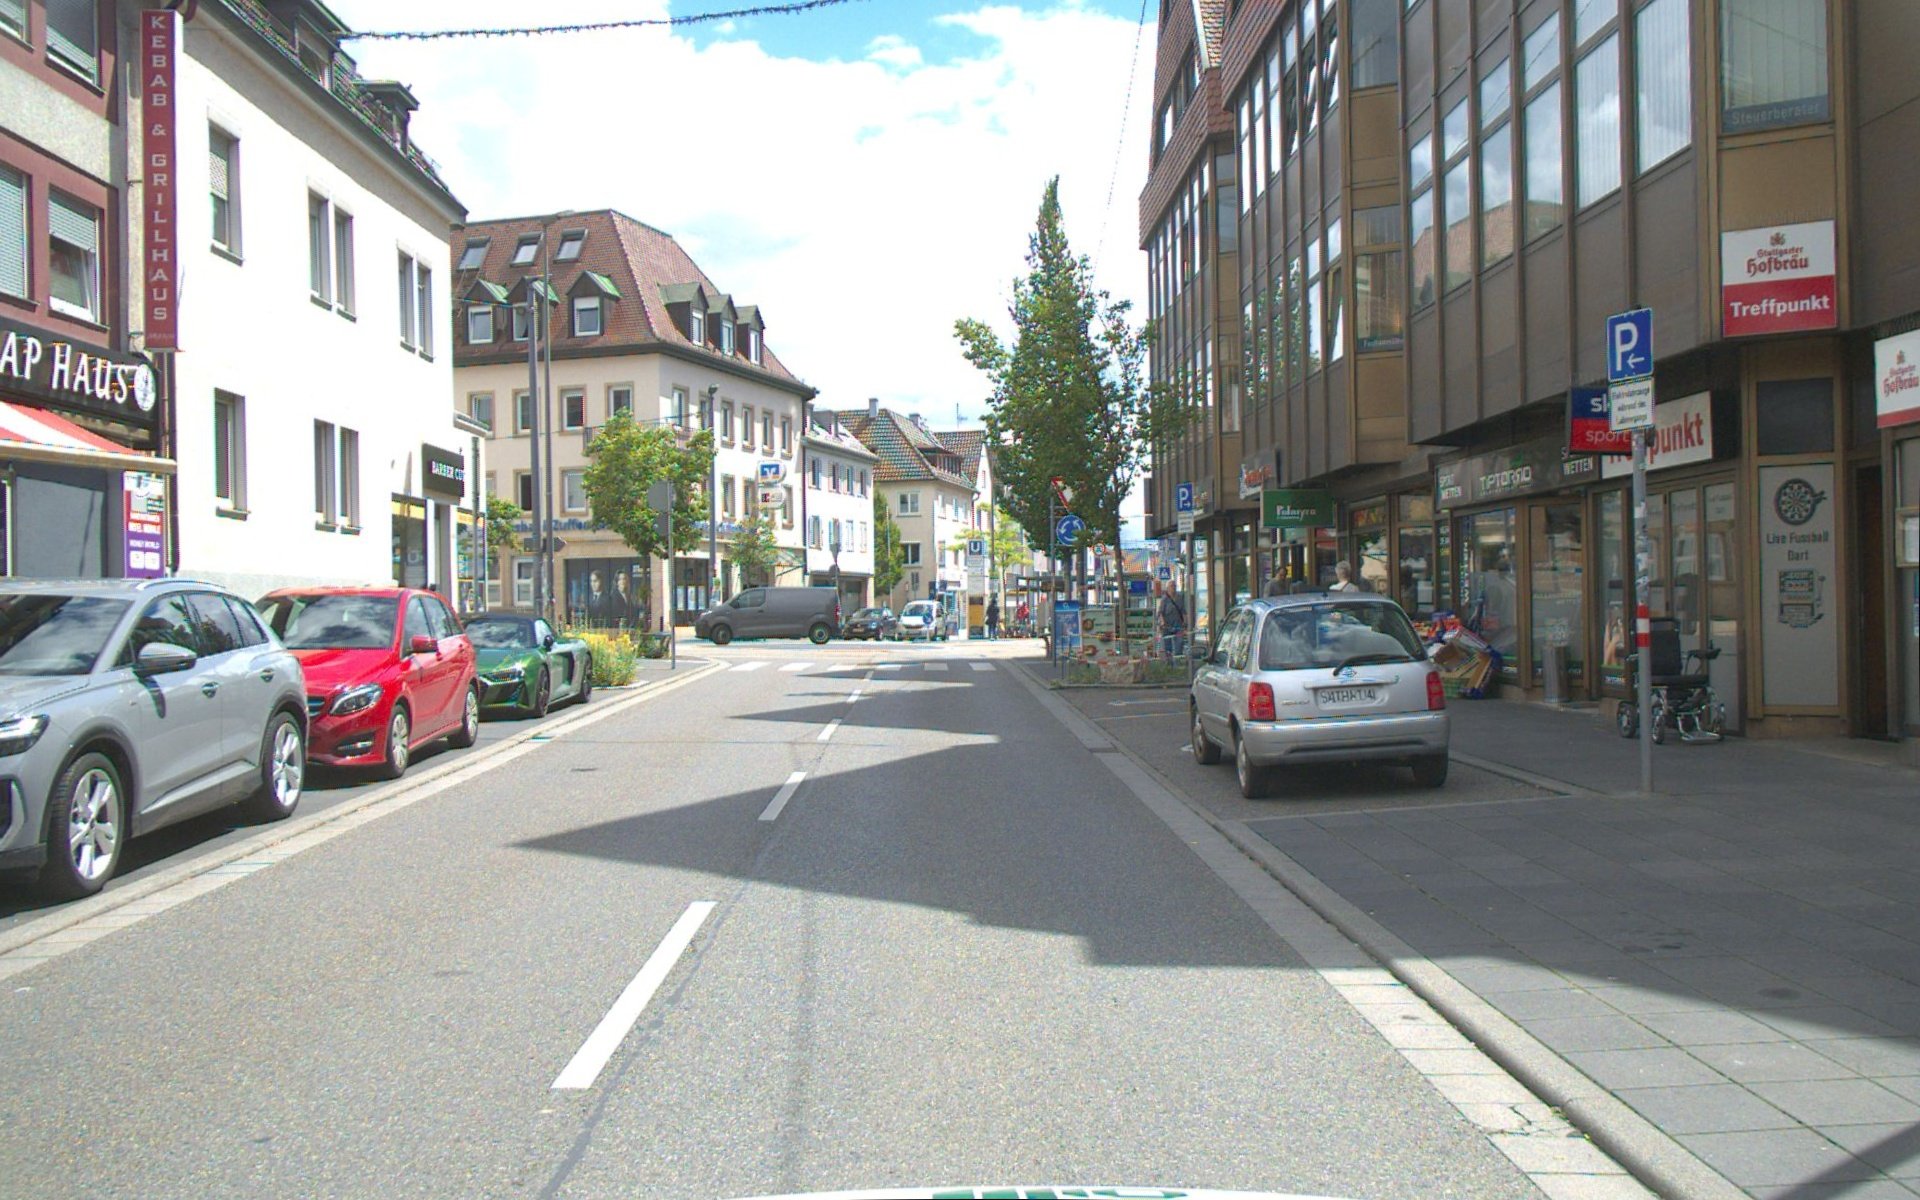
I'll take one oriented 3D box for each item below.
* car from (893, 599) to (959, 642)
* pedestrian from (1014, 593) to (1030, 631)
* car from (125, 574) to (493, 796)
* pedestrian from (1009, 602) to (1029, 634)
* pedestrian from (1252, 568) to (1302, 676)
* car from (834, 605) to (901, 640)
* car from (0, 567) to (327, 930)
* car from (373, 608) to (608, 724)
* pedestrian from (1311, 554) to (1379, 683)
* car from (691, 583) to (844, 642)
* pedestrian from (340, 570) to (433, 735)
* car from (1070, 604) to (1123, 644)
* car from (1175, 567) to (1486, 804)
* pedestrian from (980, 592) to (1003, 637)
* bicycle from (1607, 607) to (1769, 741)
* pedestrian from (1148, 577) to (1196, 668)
[{"bbox_3d":[-1.407,0.853,69.561,1.951,1.719,4.003,0,-1,11],"label":"car"},{"bbox_3d":[2.945,0.586,78.541,0.712,1.794,0.749,0,0,9],"label":"pedestrian"},{"bbox_3d":[-5.484,0.623,14.553,1.764,1.632,4.215,-1,0,-4],"label":"car"},{"bbox_3d":[3.026,0.923,84.516,0.742,1.607,0.719,0,0,-41],"label":"pedestrian"},{"bbox_3d":[5.499,0.386,28.726,0.722,1.846,0.711,1,-1,-1],"label":"pedestrian"},{"bbox_3d":[-4.026,0.972,72.416,1.951,1.478,4.003,0,-1,12],"label":"car"},{"bbox_3d":[-5.249,0.677,9.546,1.764,1.632,4.347,-1,0,-4],"label":"car"},{"bbox_3d":[-5.843,0.765,21.160,1.782,1.245,4.522,1,0,-1],"label":"car"},{"bbox_3d":[5.281,0.258,22.699,0.647,1.736,0.642,1,-1,-23],"label":"pedestrian"},{"bbox_3d":[-6.304,0.416,54.513,4.886,1.881,2.045,1,-1,-6],"label":"car"},{"bbox_3d":[-5.998,0.538,17.318,0.672,1.677,0.779,0,-1,1],"label":"pedestrian"},{"bbox_3d":[5.528,0.945,66.606,1.661,1.557,3.474,0,-1,12],"label":"car"},{"bbox_3d":[2.810,0.582,13.331,1.577,1.520,3.795,-4,0,0],"label":"car"},{"bbox_3d":[1.237,0.575,64.510,0.851,1.738,0.531,0,-1,2],"label":"pedestrian"},{"bbox_3d":[6.134,0.602,14.021,0.705,1.066,1.476,1,-1,-1],"label":"bicycle"},{"bbox_3d":[3.902,0.420,30.448,0.768,1.644,0.800,1,-1,-1],"label":"pedestrian"}]
